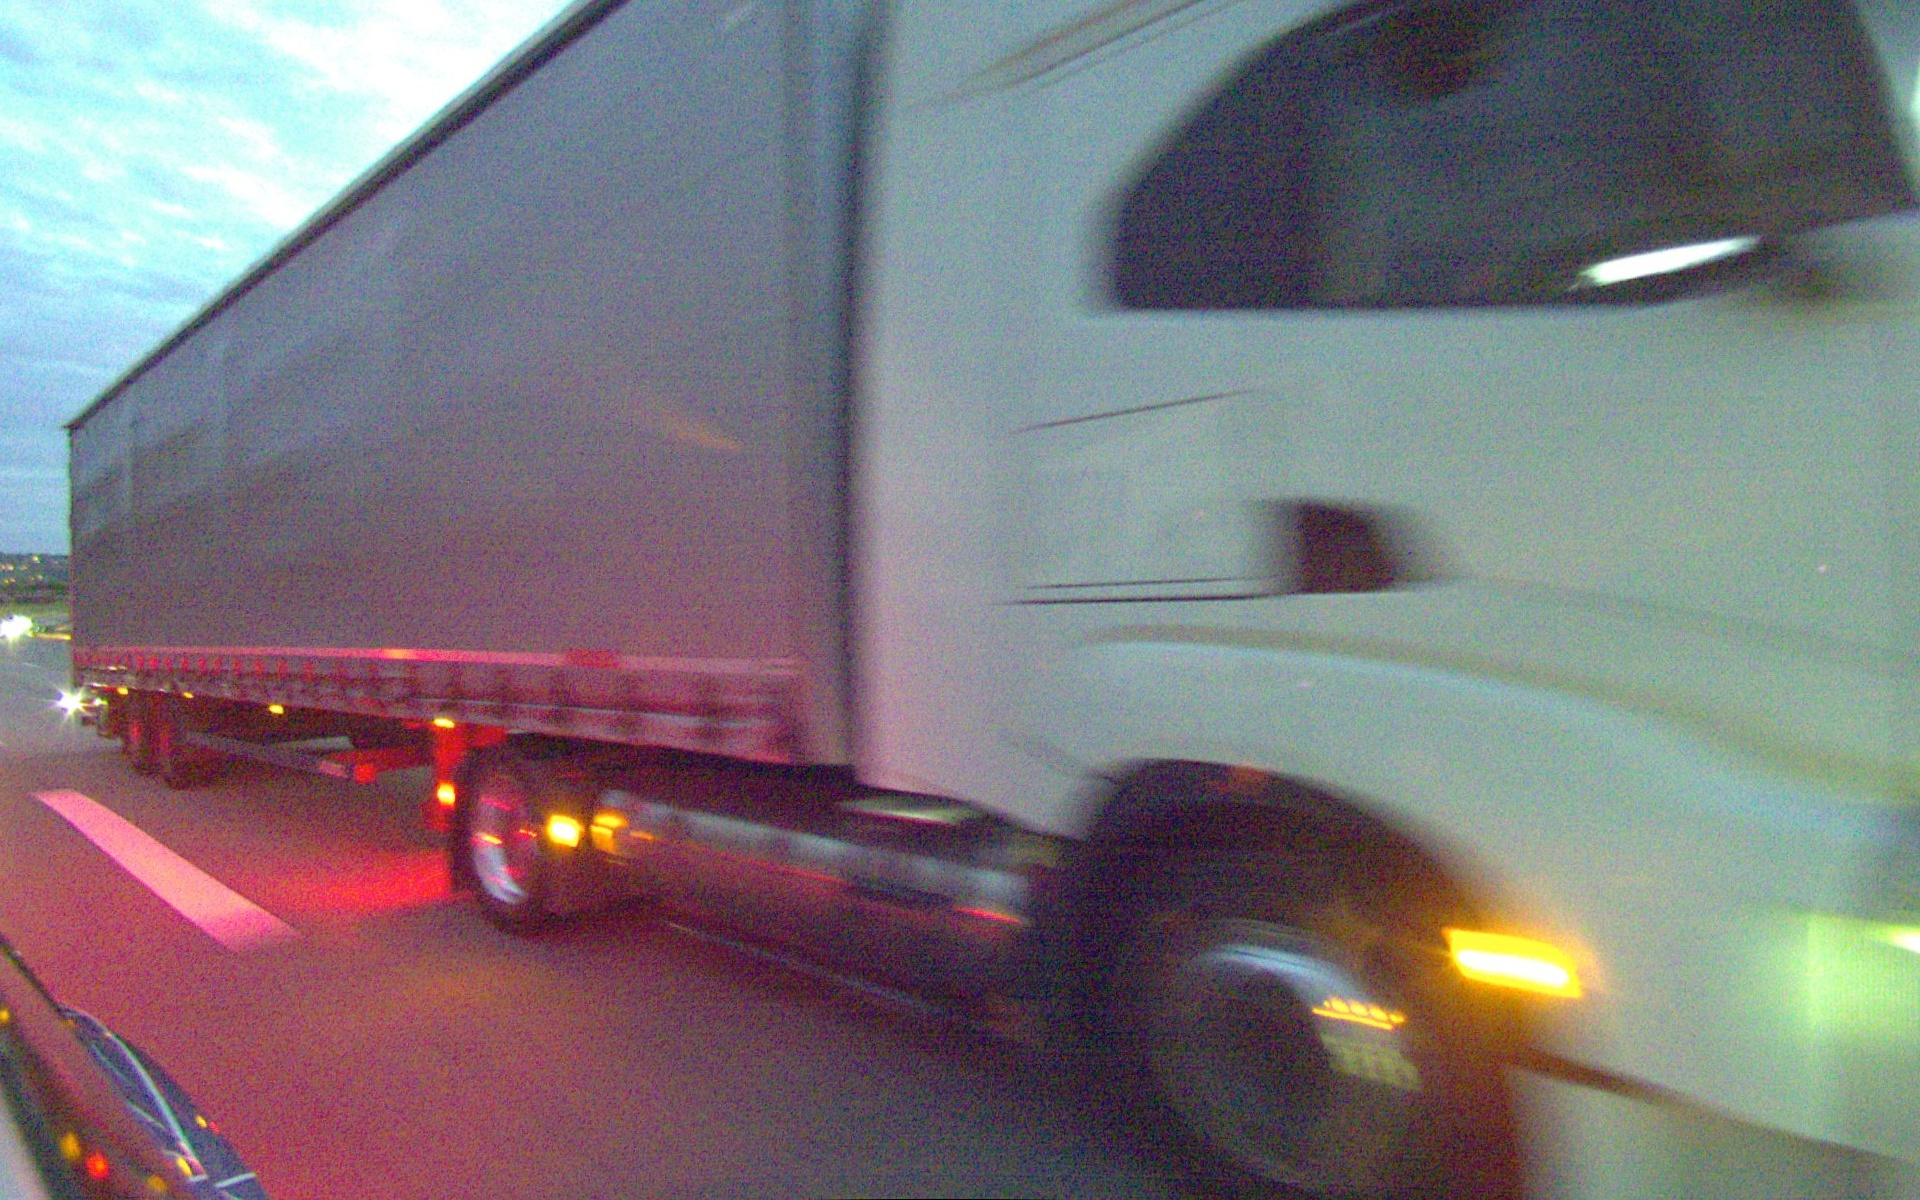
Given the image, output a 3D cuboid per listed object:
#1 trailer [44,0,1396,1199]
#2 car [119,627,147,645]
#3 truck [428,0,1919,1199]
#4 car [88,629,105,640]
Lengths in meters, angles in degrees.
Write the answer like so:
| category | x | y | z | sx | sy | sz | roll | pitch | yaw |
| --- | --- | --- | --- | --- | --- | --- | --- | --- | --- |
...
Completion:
| category | x | y | z | sx | sy | sz | roll | pitch | yaw |
| --- | --- | --- | --- | --- | --- | --- | --- | --- | --- |
| trailer | -4.534 | -0.317 | 8.415 | 14.809 | 3.945 | 2.745 | -2 | -2 | 41 |
| car | -95.200 | 4.149 | 116.466 | 4.489 | 2.029 | 1.971 | -2 | -1 | 43 |
| truck | 0.626 | -0.458 | 3.998 | 6.150 | 3.931 | 2.751 | -2 | -1 | 40 |
| car | -154.325 | 6.129 | 180.868 | 4.002 | 1.729 | 1.971 | -1 | 0 | 45 |
